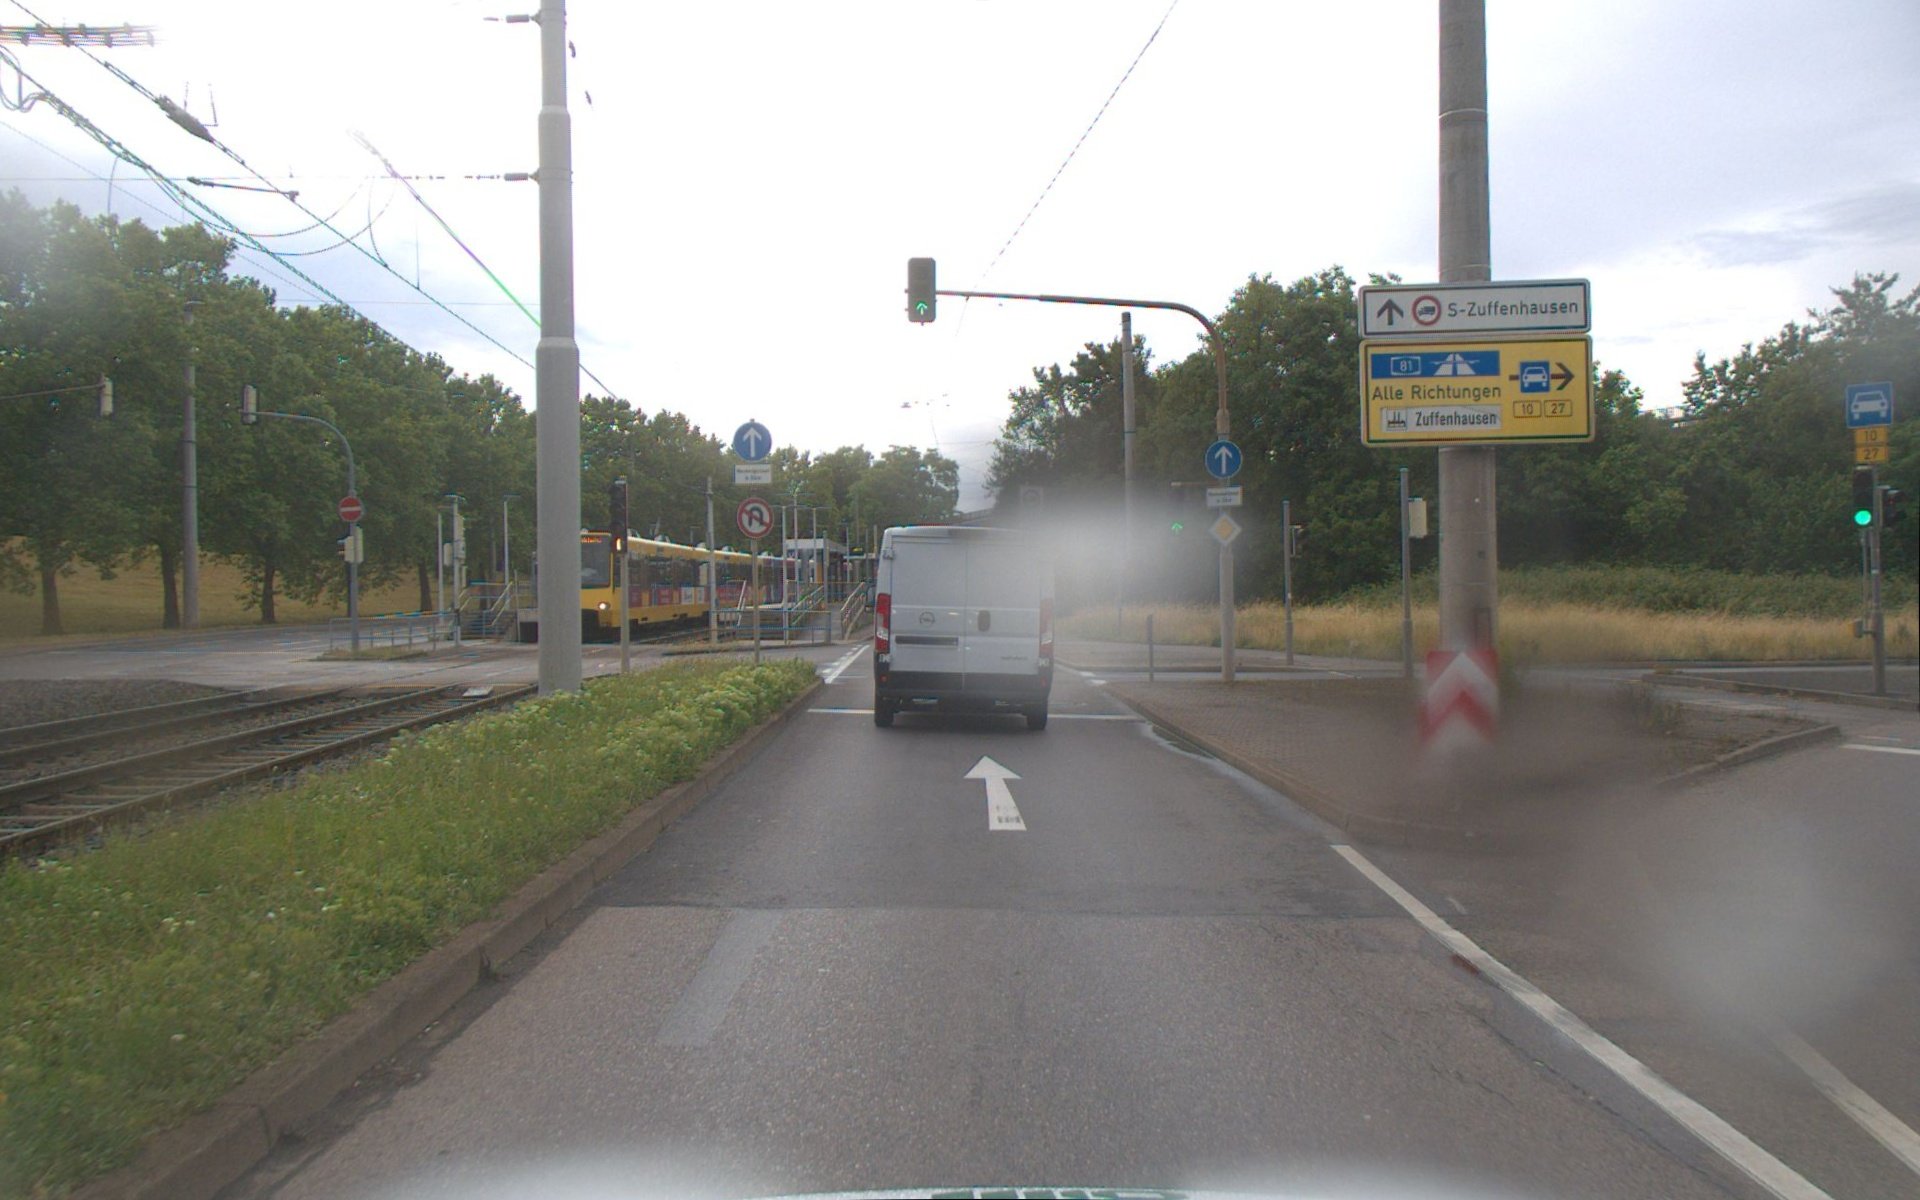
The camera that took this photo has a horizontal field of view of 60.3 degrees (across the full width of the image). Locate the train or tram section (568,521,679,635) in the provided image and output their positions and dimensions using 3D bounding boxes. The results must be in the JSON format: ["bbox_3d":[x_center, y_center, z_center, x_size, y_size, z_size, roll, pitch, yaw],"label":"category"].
[{"bbox_3d":[-12.672,-0.810,62.895,2.869,4.001,7.003,1,0,-2],"label":"train or tram section"}]

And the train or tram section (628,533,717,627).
[{"bbox_3d":[-12.997,-0.886,75.332,2.869,4.001,7.003,1,0,-2],"label":"train or tram section"}]

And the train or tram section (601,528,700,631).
[{"bbox_3d":[-12.833,-0.848,69.137,2.869,4.001,7.003,1,0,-2],"label":"train or tram section"}]

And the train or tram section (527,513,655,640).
[{"bbox_3d":[-12.536,-0.773,56.791,2.869,4.001,7.003,1,0,-2],"label":"train or tram section"}]

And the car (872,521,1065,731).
[{"bbox_3d":[-0.038,0.246,20.373,2.049,2.234,5.058,1,1,-3],"label":"car"}]
